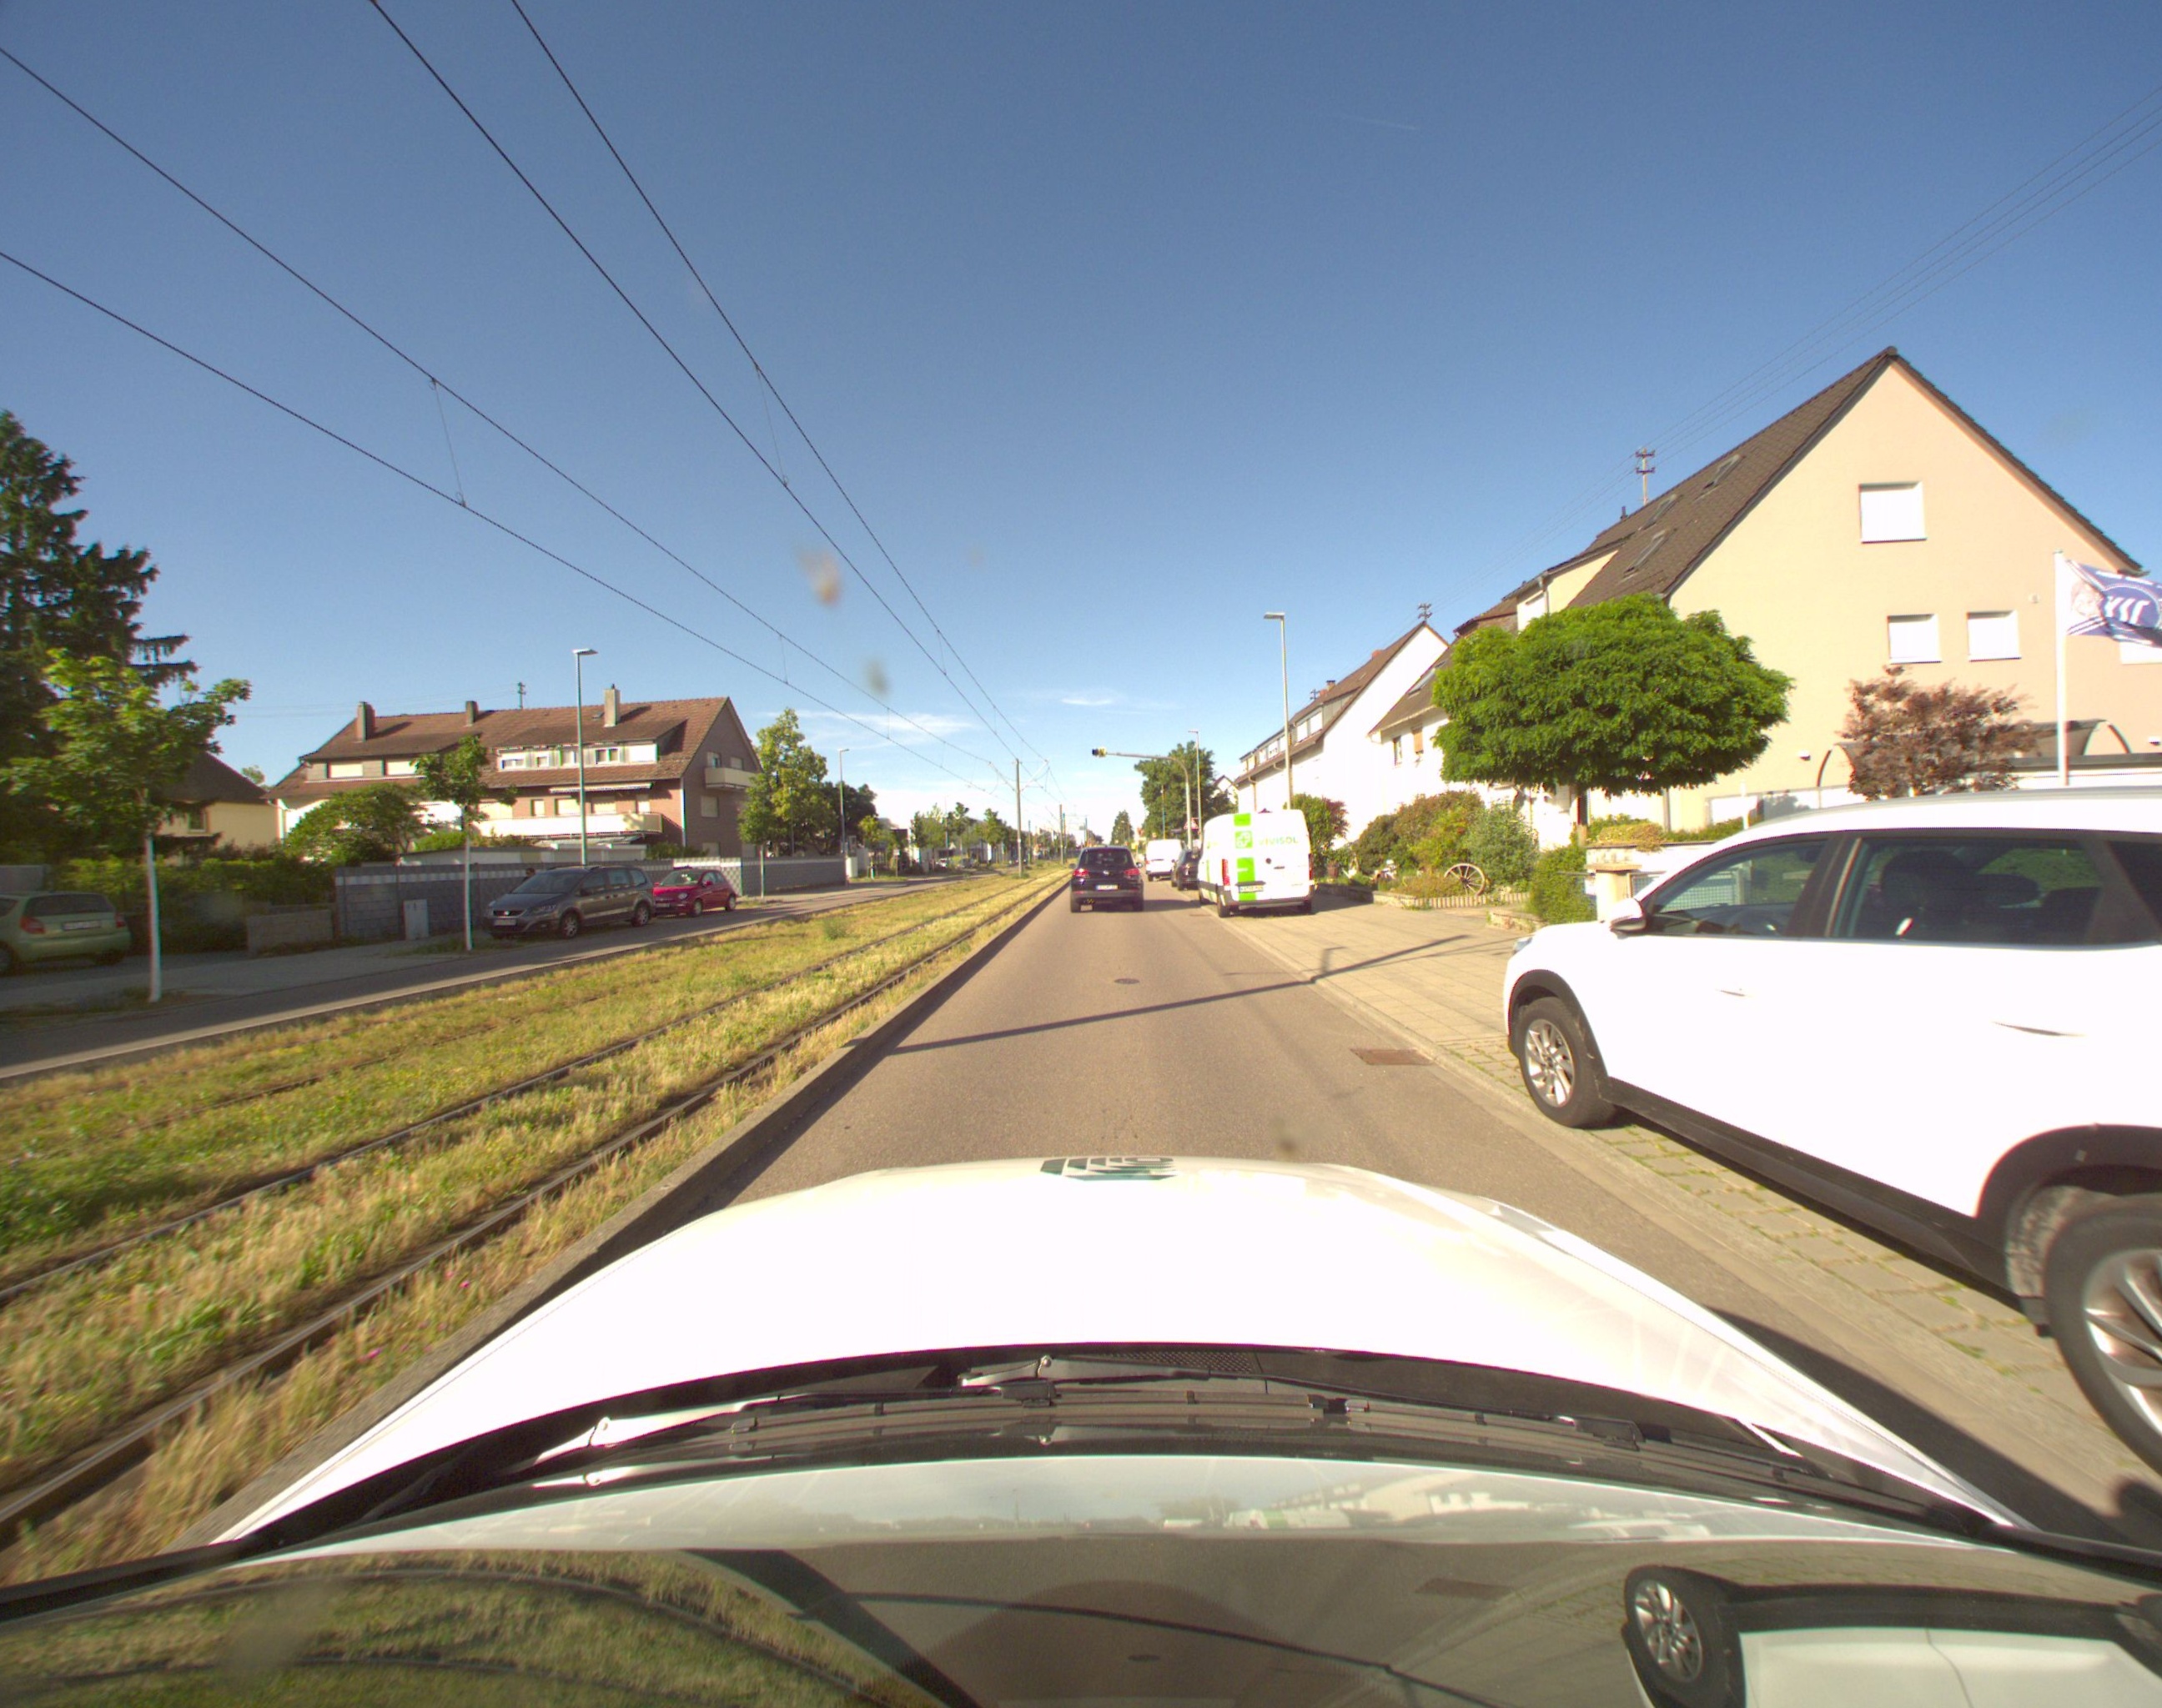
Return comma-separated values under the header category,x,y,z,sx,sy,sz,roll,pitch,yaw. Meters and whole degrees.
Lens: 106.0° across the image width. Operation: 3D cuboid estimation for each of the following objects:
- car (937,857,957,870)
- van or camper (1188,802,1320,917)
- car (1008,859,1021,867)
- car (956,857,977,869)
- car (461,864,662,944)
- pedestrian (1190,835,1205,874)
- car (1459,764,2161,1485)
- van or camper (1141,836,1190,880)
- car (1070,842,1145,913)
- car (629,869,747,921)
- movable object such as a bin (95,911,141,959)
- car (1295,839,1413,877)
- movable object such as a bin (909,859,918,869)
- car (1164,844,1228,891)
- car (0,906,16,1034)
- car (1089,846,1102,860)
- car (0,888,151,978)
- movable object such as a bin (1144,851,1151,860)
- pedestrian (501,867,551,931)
category,x,y,z,sx,sy,sz,roll,pitch,yaw
car,-15.390,1.055,93.564,1.539,1.491,3.775,-1,0,0
van or camper,4.004,0.115,20.102,1.986,2.271,6.307,-4,0,2
car,-12.668,1.685,154.831,1.681,1.389,4.392,-4,0,3
car,-14.960,1.133,106.564,1.801,1.461,4.325,-1,0,6
car,-12.897,1.149,20.679,1.812,1.684,4.848,-1,0,2
pedestrian,5.904,0.028,41.375,0.694,1.912,0.761,-1,0,10
car,3.317,0.579,3.143,1.719,1.645,4.320,-3,-1,1
van or camper,4.322,0.162,40.944,2.015,1.956,5.309,-3,0,10
car,0.633,0.560,21.507,1.770,1.670,3.999,-1,0,0
car,-12.758,1.276,26.739,1.688,1.405,4.081,-3,0,2
movable object such as a bin,-20.471,1.719,17.315,0.590,0.969,0.296,-3,0,1
car,12.430,0.180,37.253,4.697,1.477,1.906,-3,-1,-1
movable object such as a bin,-22.276,1.327,108.374,0.660,1.433,1.258,-1,0,10
car,4.188,0.451,30.471,1.742,1.494,5.157,-4,0,2
car,-13.499,1.387,7.647,1.671,1.491,4.049,-1,0,-1
car,2.936,-0.180,162.425,2.385,2.564,5.531,-2,0,2
car,-19.945,1.465,15.050,3.597,1.473,1.706,-2,0,3
movable object such as a bin,8.922,0.227,109.431,0.971,1.111,1.172,-3,0,5
pedestrian,-14.911,1.191,21.895,0.693,1.640,0.919,-1,0,-1
